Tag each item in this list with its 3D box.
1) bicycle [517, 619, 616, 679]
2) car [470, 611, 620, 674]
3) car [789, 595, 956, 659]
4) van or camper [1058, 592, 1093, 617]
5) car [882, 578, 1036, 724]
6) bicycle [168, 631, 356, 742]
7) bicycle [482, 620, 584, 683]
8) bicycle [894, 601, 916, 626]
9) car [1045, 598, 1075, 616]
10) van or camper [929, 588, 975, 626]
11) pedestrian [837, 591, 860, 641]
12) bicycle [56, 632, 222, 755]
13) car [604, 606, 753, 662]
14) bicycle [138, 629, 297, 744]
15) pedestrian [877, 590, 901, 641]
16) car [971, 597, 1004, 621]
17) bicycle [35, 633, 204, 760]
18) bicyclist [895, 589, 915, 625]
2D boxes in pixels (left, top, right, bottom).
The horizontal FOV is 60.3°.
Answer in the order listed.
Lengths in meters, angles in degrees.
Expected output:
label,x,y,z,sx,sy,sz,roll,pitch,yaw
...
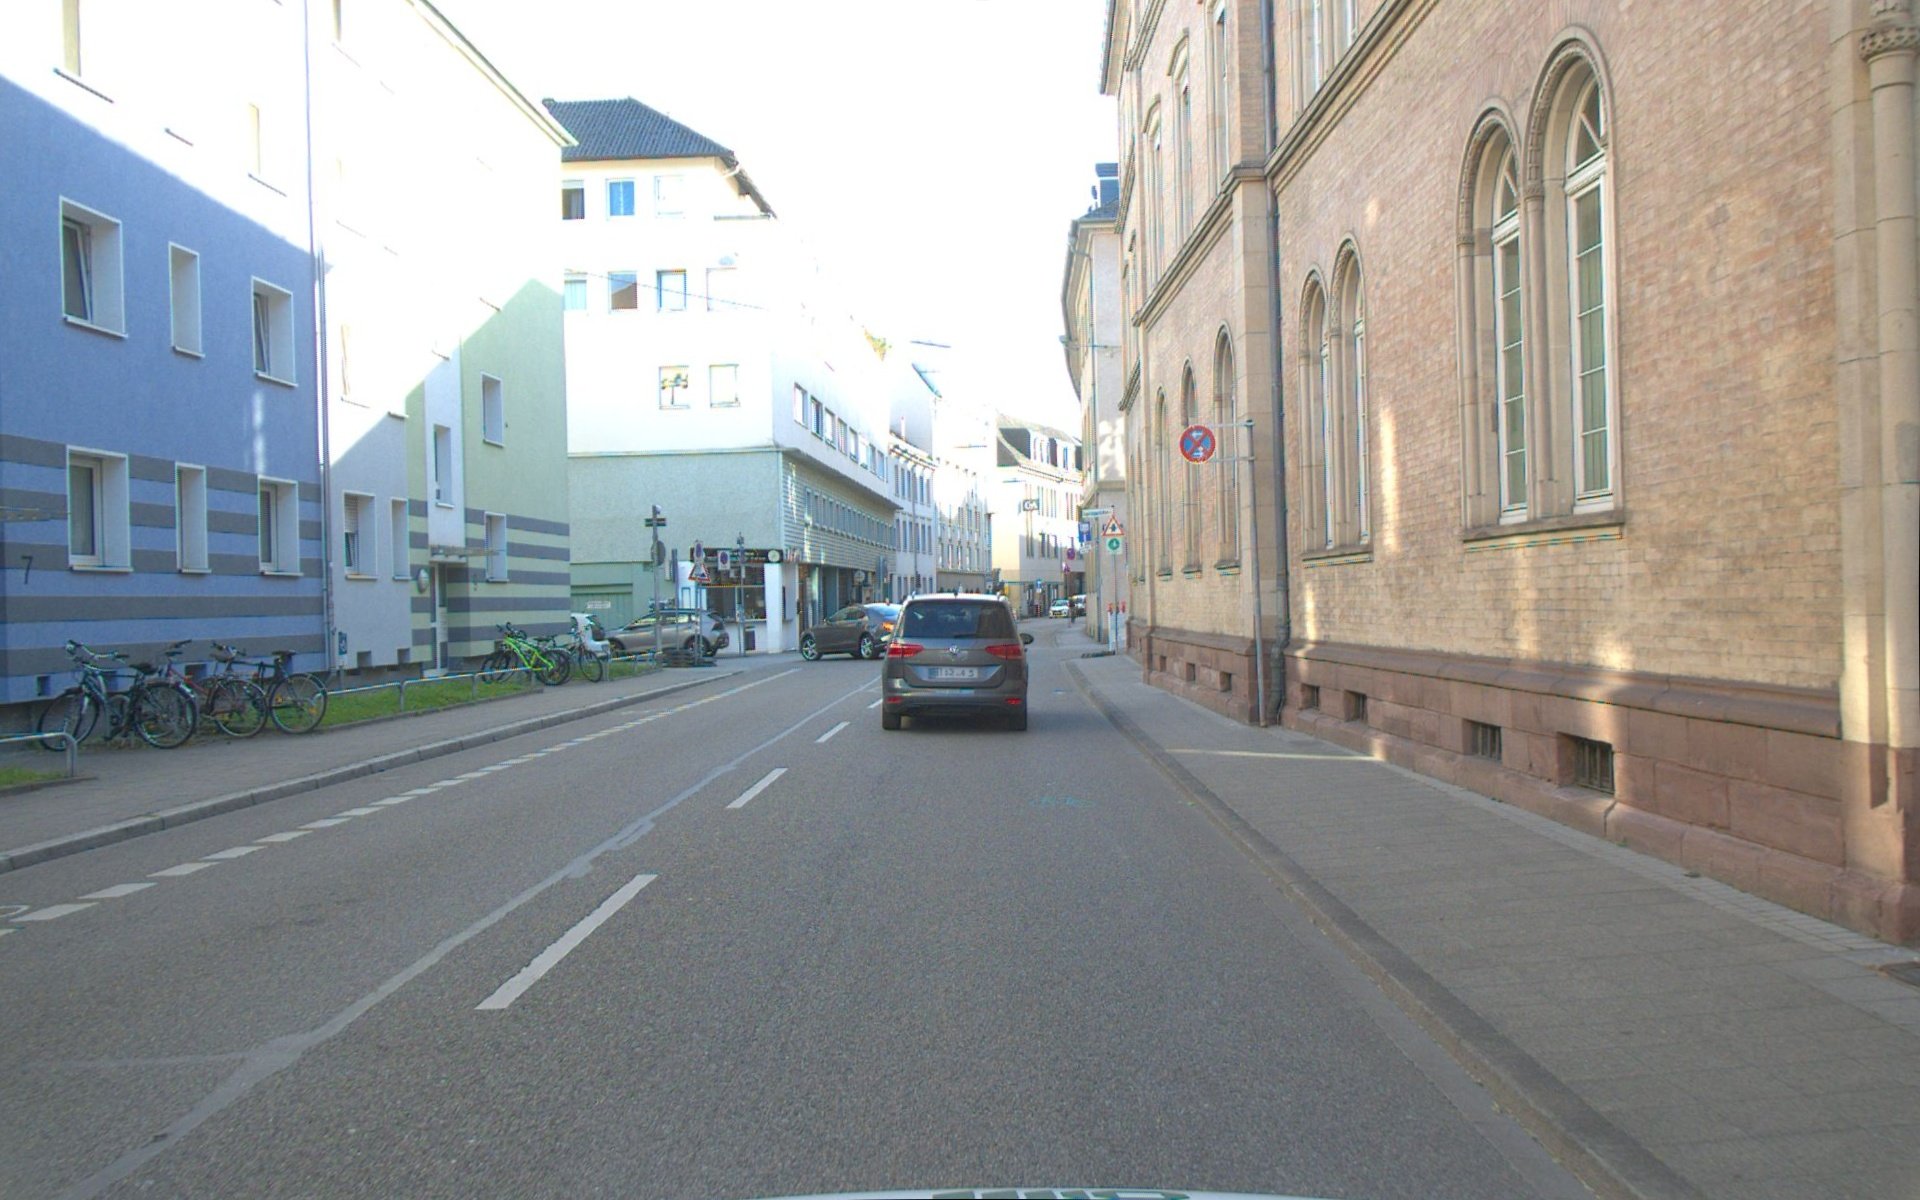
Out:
label,x,y,z,sx,sy,sz,roll,pitch,yaw
bicycle,-8.019,0.994,33.766,1.892,1.200,0.612,1,-1,-8
car,-10.987,1.115,43.957,3.427,1.468,1.814,-2,0,3
car,-2.383,0.730,43.990,1.984,1.568,4.556,-2,0,-43
van or camper,10.158,0.369,145.289,1.951,2.049,5.001,-1,0,17
car,0.009,0.579,20.822,1.726,1.635,4.000,1,0,1
bicycle,-8.445,1.034,20.049,1.967,1.253,0.623,-2,0,-1
bicycle,-8.324,1.003,32.302,1.896,1.200,0.611,1,-1,-14
bicycle,-2.499,0.603,75.289,0.813,1.073,2.550,-1,0,1
car,8.497,0.576,139.596,1.697,1.493,4.003,-2,0,15
van or camper,-0.399,0.364,93.370,1.951,2.049,4.486,-2,0,7
pedestrian,-4.232,0.597,62.810,0.544,1.861,0.730,-2,0,25
bicycle,-8.965,1.012,18.082,1.552,1.263,0.449,-2,0,-1
car,-8.439,1.012,49.767,4.012,1.468,1.948,-2,0,3
bicycle,-8.670,1.003,19.332,1.606,1.263,0.467,-2,0,-1
pedestrian,-2.624,0.568,61.156,0.544,1.861,0.730,-2,0,25
car,1.834,0.565,109.503,1.826,1.494,3.836,-2,0,6
bicycle,-8.967,1.021,17.663,1.547,1.263,0.384,-3,0,-1
bicyclist,-2.495,0.323,75.342,0.814,1.589,0.760,-1,0,1
